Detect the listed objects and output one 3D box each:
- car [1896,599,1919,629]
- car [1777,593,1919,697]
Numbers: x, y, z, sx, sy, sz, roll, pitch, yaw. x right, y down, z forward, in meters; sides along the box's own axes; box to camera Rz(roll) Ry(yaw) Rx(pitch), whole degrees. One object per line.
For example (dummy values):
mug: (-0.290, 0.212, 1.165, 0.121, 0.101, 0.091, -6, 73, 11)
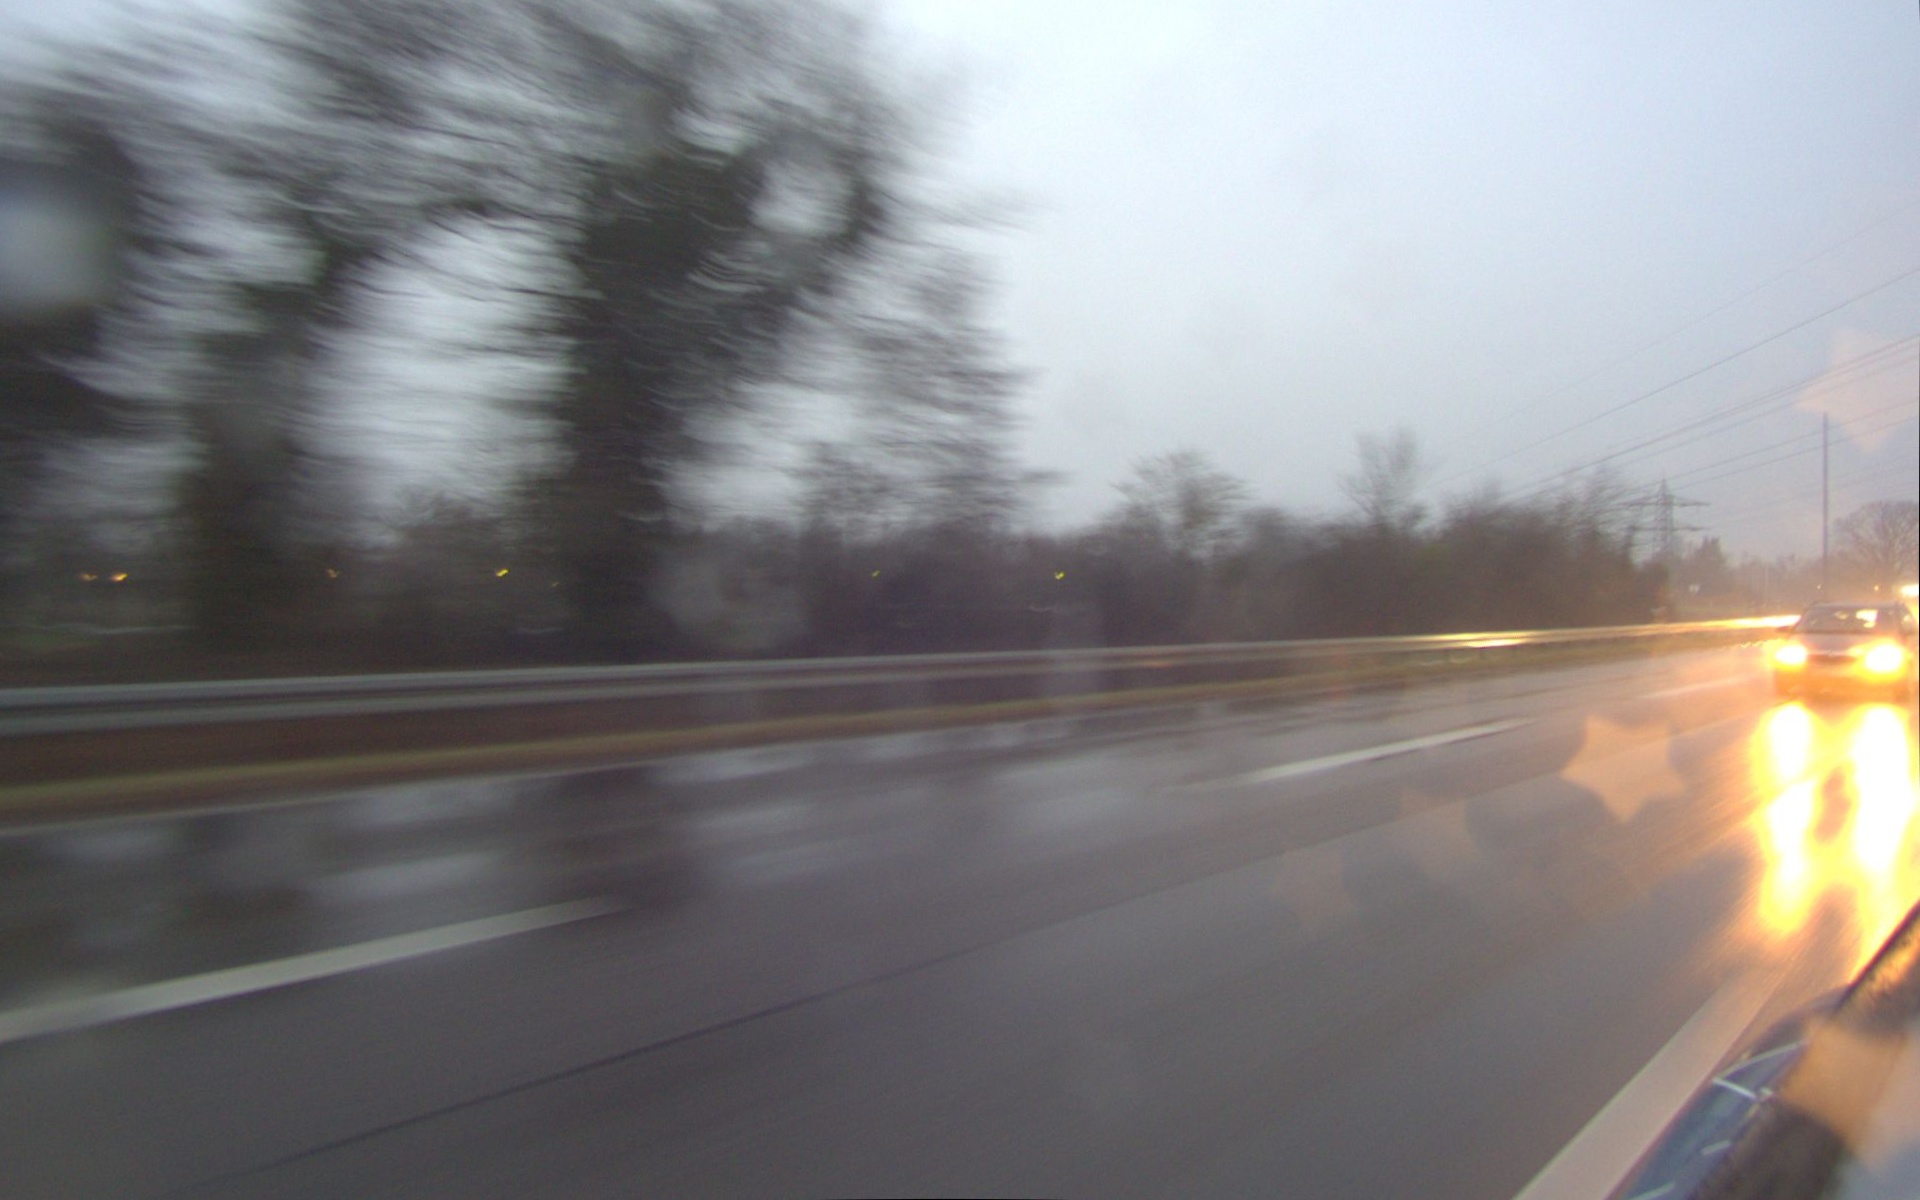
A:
car: (48.774, 0.699, 50.304, 3.740, 1.453, 1.797, 0, 0, -20)
car: (14.692, 0.643, 16.449, 3.531, 1.510, 1.597, 0, 0, -41)
